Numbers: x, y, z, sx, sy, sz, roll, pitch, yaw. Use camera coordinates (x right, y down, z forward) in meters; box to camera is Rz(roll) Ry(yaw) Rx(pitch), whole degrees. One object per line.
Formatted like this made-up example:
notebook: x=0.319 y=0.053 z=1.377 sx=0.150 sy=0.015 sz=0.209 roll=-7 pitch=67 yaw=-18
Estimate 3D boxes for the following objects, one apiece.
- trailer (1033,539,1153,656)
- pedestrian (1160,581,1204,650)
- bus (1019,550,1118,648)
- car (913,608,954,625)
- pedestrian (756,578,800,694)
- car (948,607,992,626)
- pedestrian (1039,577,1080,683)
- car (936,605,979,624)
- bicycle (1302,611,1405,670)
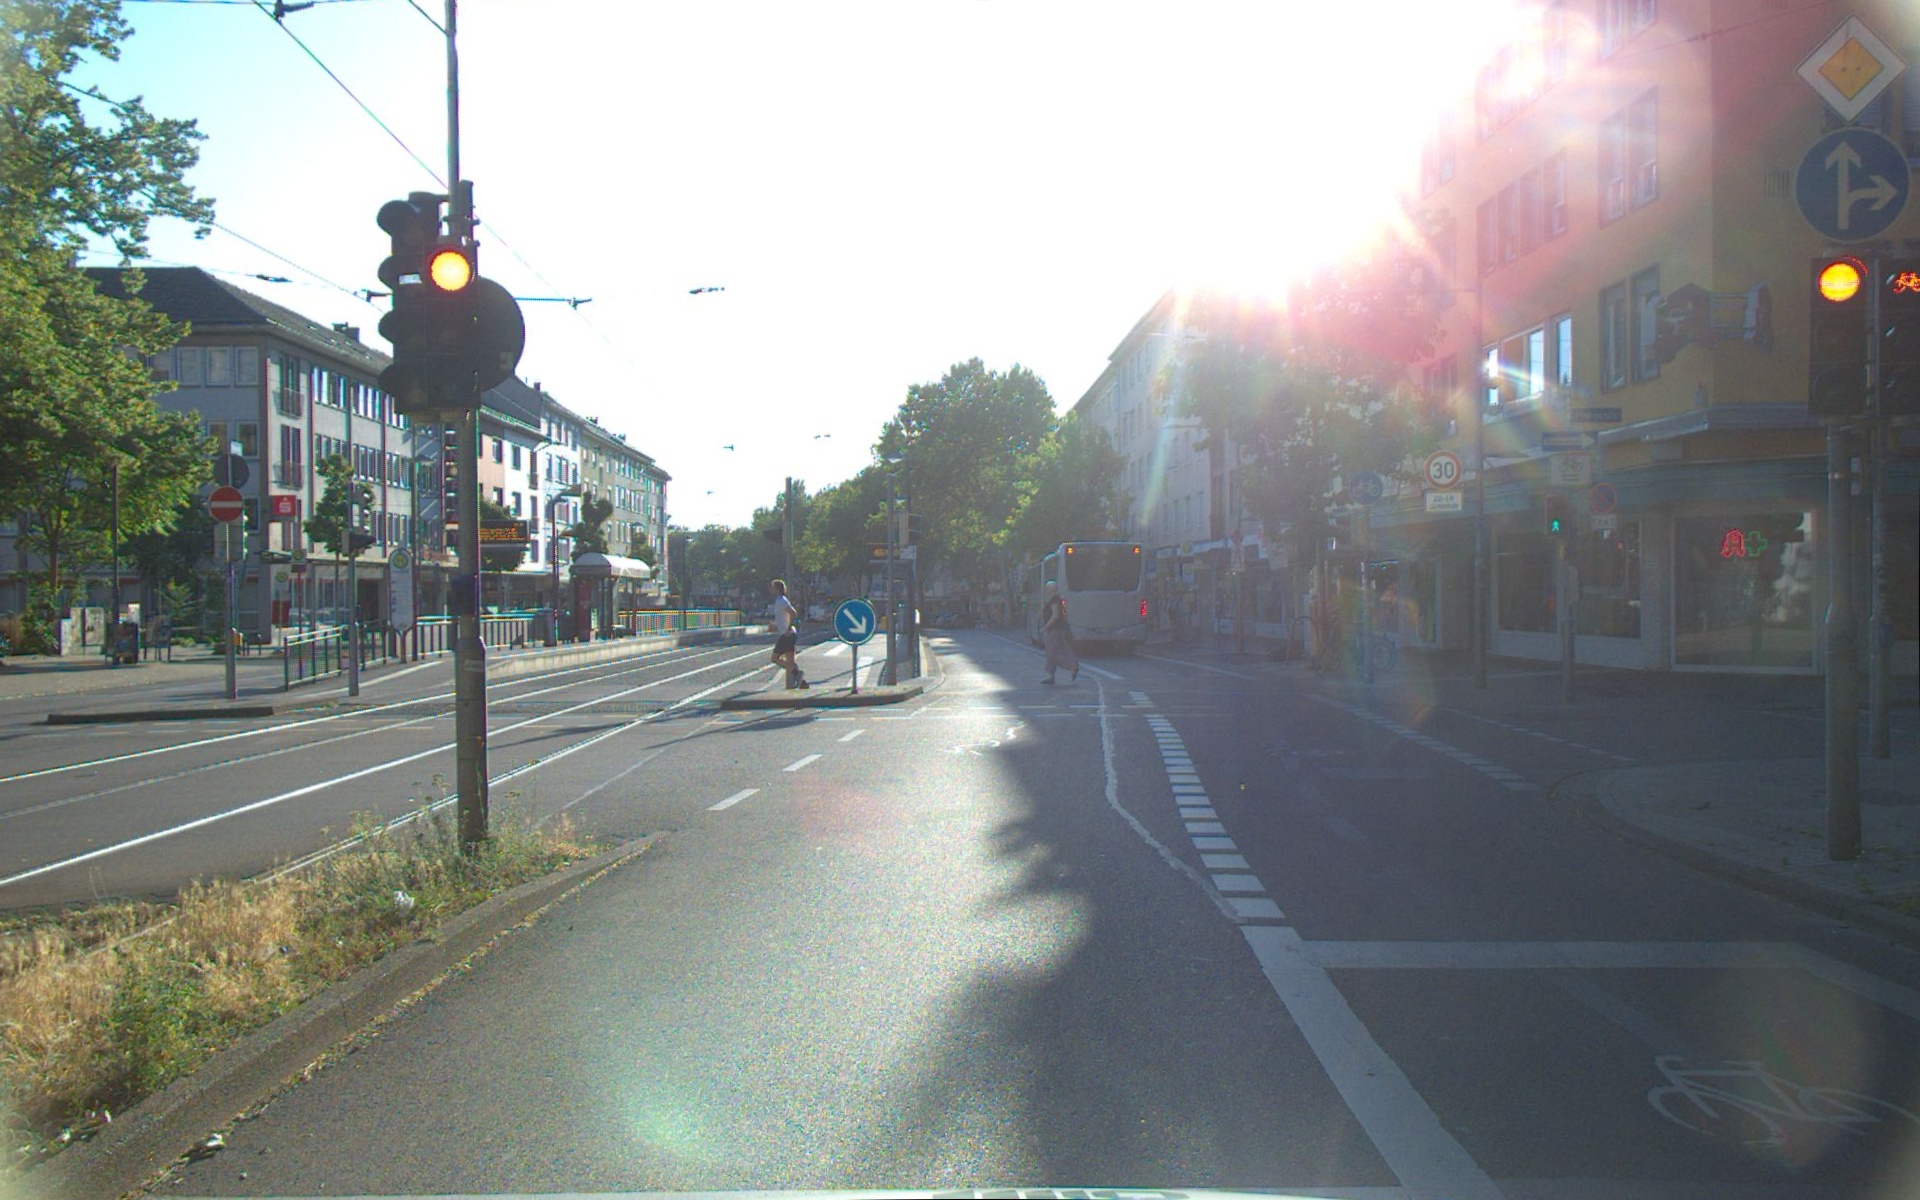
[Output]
trailer: x=3.869 y=-0.059 z=50.020 sx=2.755 sy=3.165 sz=8.792 roll=1 pitch=0 yaw=-1
pedestrian: x=6.714 y=0.464 z=49.943 sx=0.950 sy=2.049 sz=0.902 roll=2 pitch=-1 yaw=-45
bus: x=3.739 y=-0.031 z=58.962 sx=2.755 sy=3.156 sz=9.092 roll=1 pitch=0 yaw=-1
car: x=-2.668 y=1.647 z=166.774 sx=3.848 sy=1.624 sz=1.674 roll=-1 pitch=0 yaw=-30
pedestrian: x=-2.878 y=0.556 z=26.162 sx=0.667 sy=1.801 sz=0.686 roll=-1 pitch=0 yaw=-6
car: x=0.990 y=1.541 z=158.442 sx=3.848 sy=1.729 sz=1.815 roll=-1 pitch=0 yaw=-30
pedestrian: x=1.716 y=0.514 z=28.702 sx=0.666 sy=1.801 sz=0.687 roll=0 pitch=0 yaw=0
car: x=-0.216 y=1.409 z=161.263 sx=3.848 sy=1.729 sz=1.815 roll=-1 pitch=0 yaw=-30
bicycle: x=7.467 y=0.758 z=31.422 sx=1.737 sy=1.039 sz=0.694 roll=-2 pitch=0 yaw=-2
